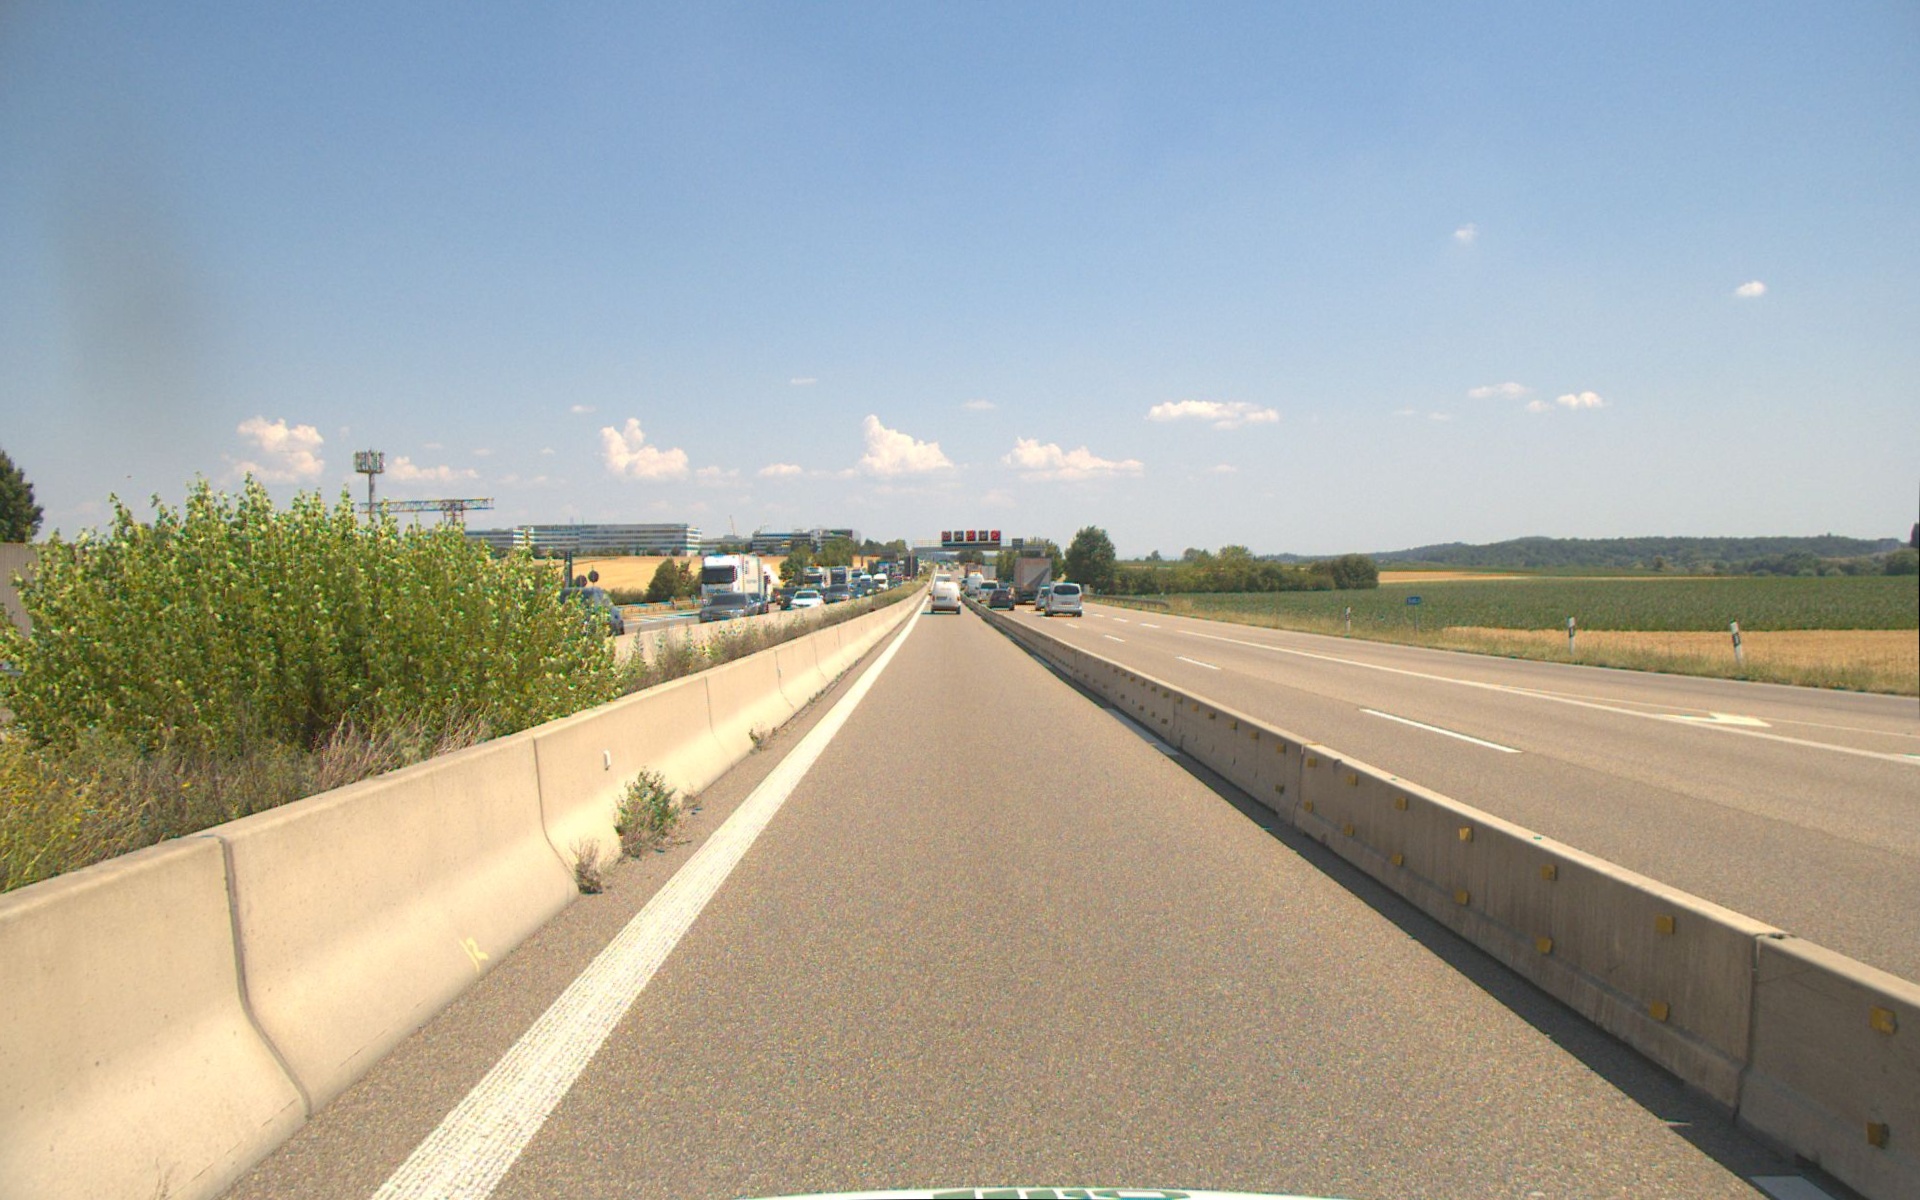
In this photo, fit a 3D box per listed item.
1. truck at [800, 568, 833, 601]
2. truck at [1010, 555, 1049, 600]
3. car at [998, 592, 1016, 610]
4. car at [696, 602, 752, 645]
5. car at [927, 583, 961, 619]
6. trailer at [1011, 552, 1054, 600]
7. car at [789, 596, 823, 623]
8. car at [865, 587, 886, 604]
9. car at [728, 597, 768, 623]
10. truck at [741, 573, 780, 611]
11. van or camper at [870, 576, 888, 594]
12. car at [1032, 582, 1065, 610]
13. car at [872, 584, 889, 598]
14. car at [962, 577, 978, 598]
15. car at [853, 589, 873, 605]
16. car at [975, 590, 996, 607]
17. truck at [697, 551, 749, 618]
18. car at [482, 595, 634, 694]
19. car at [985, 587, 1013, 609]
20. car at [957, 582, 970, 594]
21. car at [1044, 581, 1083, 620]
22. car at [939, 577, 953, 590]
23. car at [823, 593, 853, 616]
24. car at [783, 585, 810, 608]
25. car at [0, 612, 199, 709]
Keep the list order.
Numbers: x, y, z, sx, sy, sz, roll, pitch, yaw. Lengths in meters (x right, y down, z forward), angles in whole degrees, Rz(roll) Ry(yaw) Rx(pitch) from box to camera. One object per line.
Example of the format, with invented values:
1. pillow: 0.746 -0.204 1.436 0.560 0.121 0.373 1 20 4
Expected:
1. truck: -16.955 -1.824 195.996 2.738 3.672 13.288 -3 1 0
2. truck: 6.195 -1.999 148.780 3.204 4.036 4.911 0 0 -1
3. car: 5.553 0.088 194.844 1.953 2.049 3.999 0 0 -1
4. car: -8.896 0.874 62.620 1.622 1.545 3.999 0 0 -1
5. car: -0.927 0.043 96.829 1.953 2.049 3.999 0 0 -1
6. trailer: 6.259 -2.014 144.539 3.211 4.036 9.111 0 0 -1
7. car: -8.855 0.536 95.415 1.640 1.545 4.507 0 0 -1
8. car: -8.379 -0.454 164.603 1.806 1.597 5.344 0 1 -1
9. car: -12.404 0.560 96.983 1.775 1.512 4.962 0 0 -1
10. truck: -21.446 -0.940 178.703 2.841 3.842 13.285 -3 1 -2
11. van or camper: -10.622 -2.022 217.388 1.994 2.260 7.207 1 1 -1
12. car: 6.072 -0.271 113.673 1.953 1.825 3.999 0 0 -1
13. car: -9.043 -1.015 188.172 1.746 1.617 4.540 0 1 -1
14. car: 1.103 -1.407 187.944 1.737 2.434 3.999 0 0 -1
15. car: -8.713 -0.267 148.955 1.622 1.375 4.266 0 1 -1
16. car: 2.262 -0.157 147.110 1.737 1.472 3.999 0 0 -1
17. truck: -16.411 -1.059 114.654 2.812 4.451 4.902 -2 0 -1
18. car: -7.995 0.833 33.339 1.953 1.790 4.644 0 1 -1
19. car: 2.646 -0.120 113.553 1.737 1.472 3.999 0 0 -1
20. car: 0.577 -1.884 257.498 1.953 1.867 3.999 0 0 -1
21. car: 5.890 0.022 94.582 1.953 2.157 3.999 0 0 -1
22. car: -2.045 -2.433 244.104 1.953 1.867 3.999 0 0 -1
23. car: -8.828 0.329 119.907 1.852 1.645 4.820 0 0 -1
24. car: -12.491 -0.269 126.656 1.622 1.680 4.665 0 1 -1
25. car: -15.041 0.997 28.969 1.622 1.545 3.999 0 0 -1
